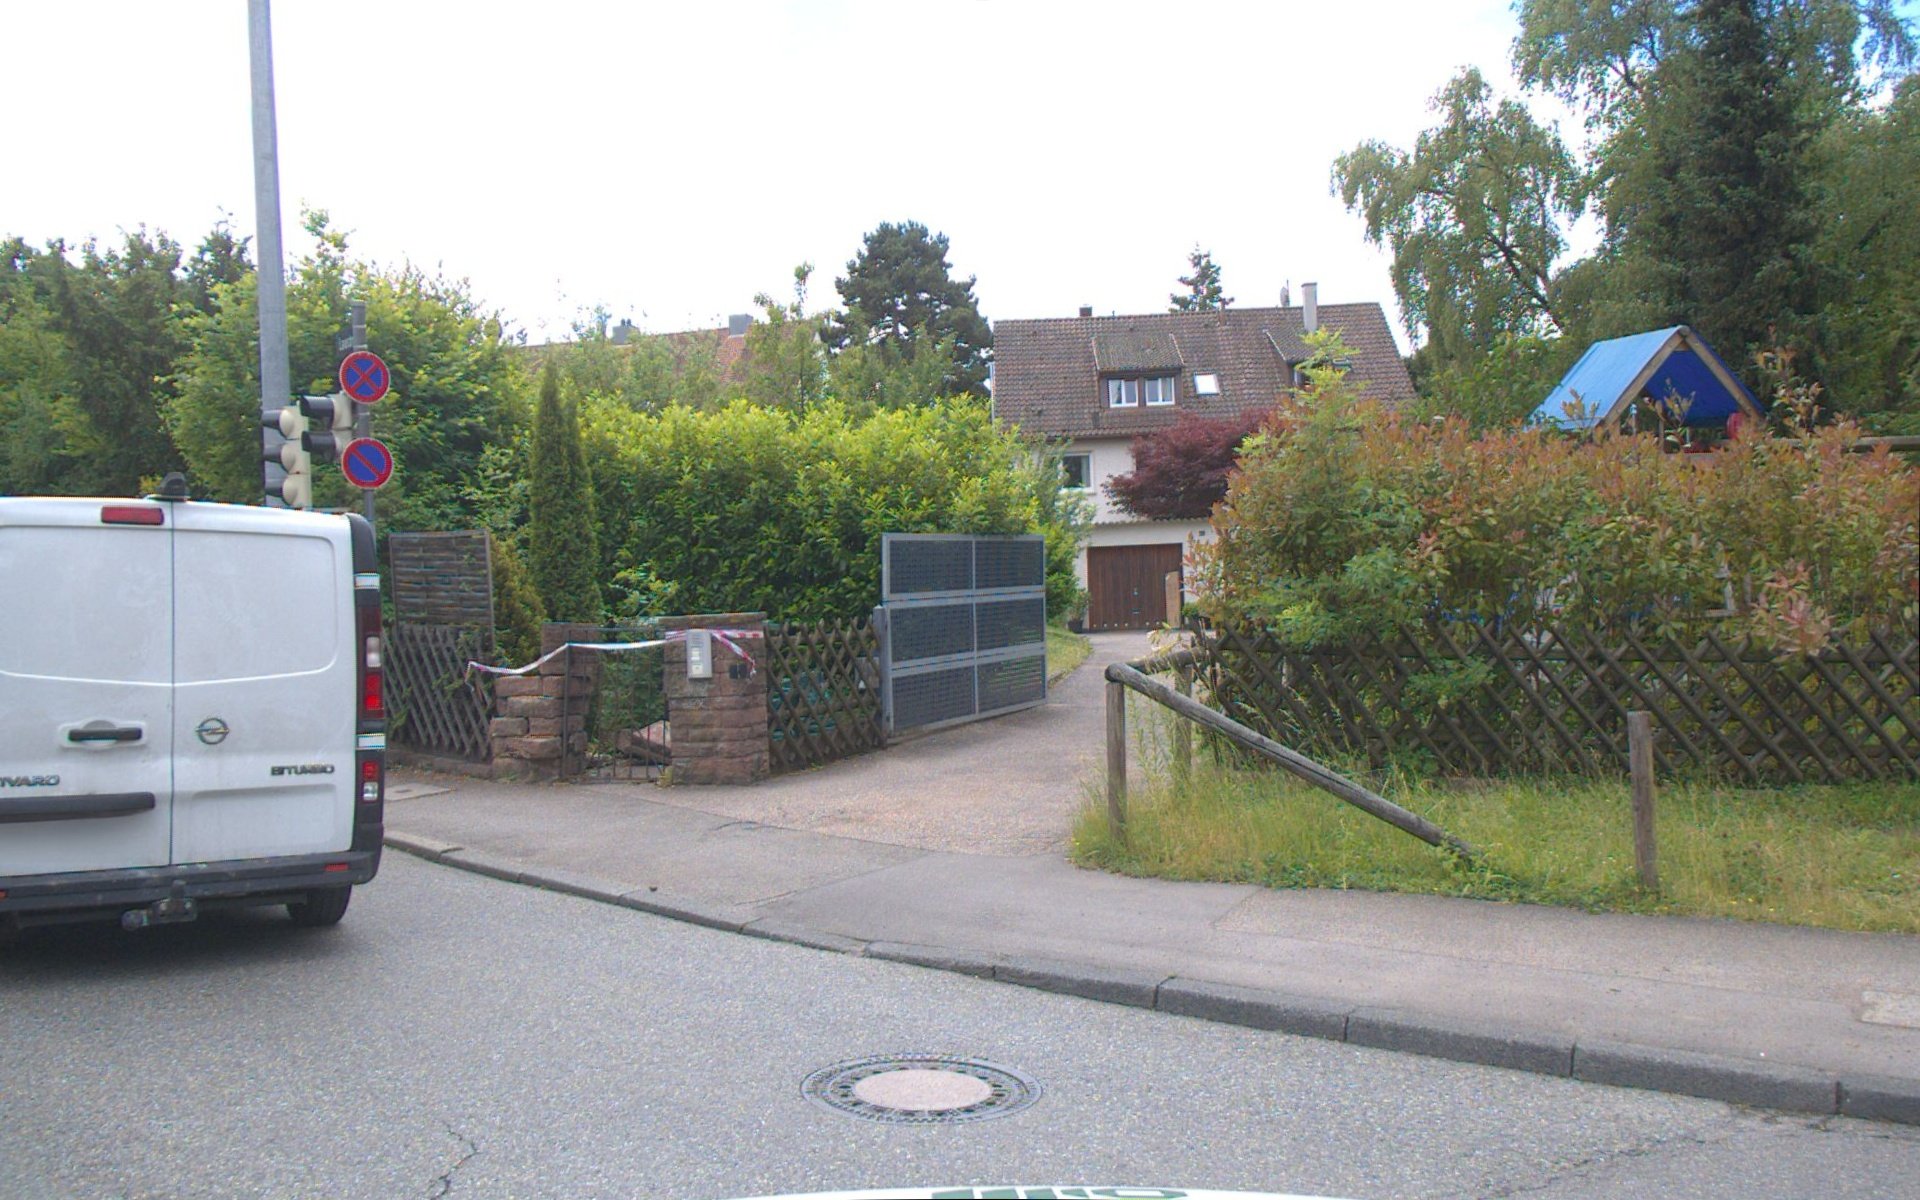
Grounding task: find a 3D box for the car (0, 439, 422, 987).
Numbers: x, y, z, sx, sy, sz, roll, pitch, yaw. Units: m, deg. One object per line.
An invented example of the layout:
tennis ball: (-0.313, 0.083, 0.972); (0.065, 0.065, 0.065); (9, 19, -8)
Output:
car: (-4.543, 0.473, 8.648); (1.989, 2.074, 4.949); (1, -1, -34)
